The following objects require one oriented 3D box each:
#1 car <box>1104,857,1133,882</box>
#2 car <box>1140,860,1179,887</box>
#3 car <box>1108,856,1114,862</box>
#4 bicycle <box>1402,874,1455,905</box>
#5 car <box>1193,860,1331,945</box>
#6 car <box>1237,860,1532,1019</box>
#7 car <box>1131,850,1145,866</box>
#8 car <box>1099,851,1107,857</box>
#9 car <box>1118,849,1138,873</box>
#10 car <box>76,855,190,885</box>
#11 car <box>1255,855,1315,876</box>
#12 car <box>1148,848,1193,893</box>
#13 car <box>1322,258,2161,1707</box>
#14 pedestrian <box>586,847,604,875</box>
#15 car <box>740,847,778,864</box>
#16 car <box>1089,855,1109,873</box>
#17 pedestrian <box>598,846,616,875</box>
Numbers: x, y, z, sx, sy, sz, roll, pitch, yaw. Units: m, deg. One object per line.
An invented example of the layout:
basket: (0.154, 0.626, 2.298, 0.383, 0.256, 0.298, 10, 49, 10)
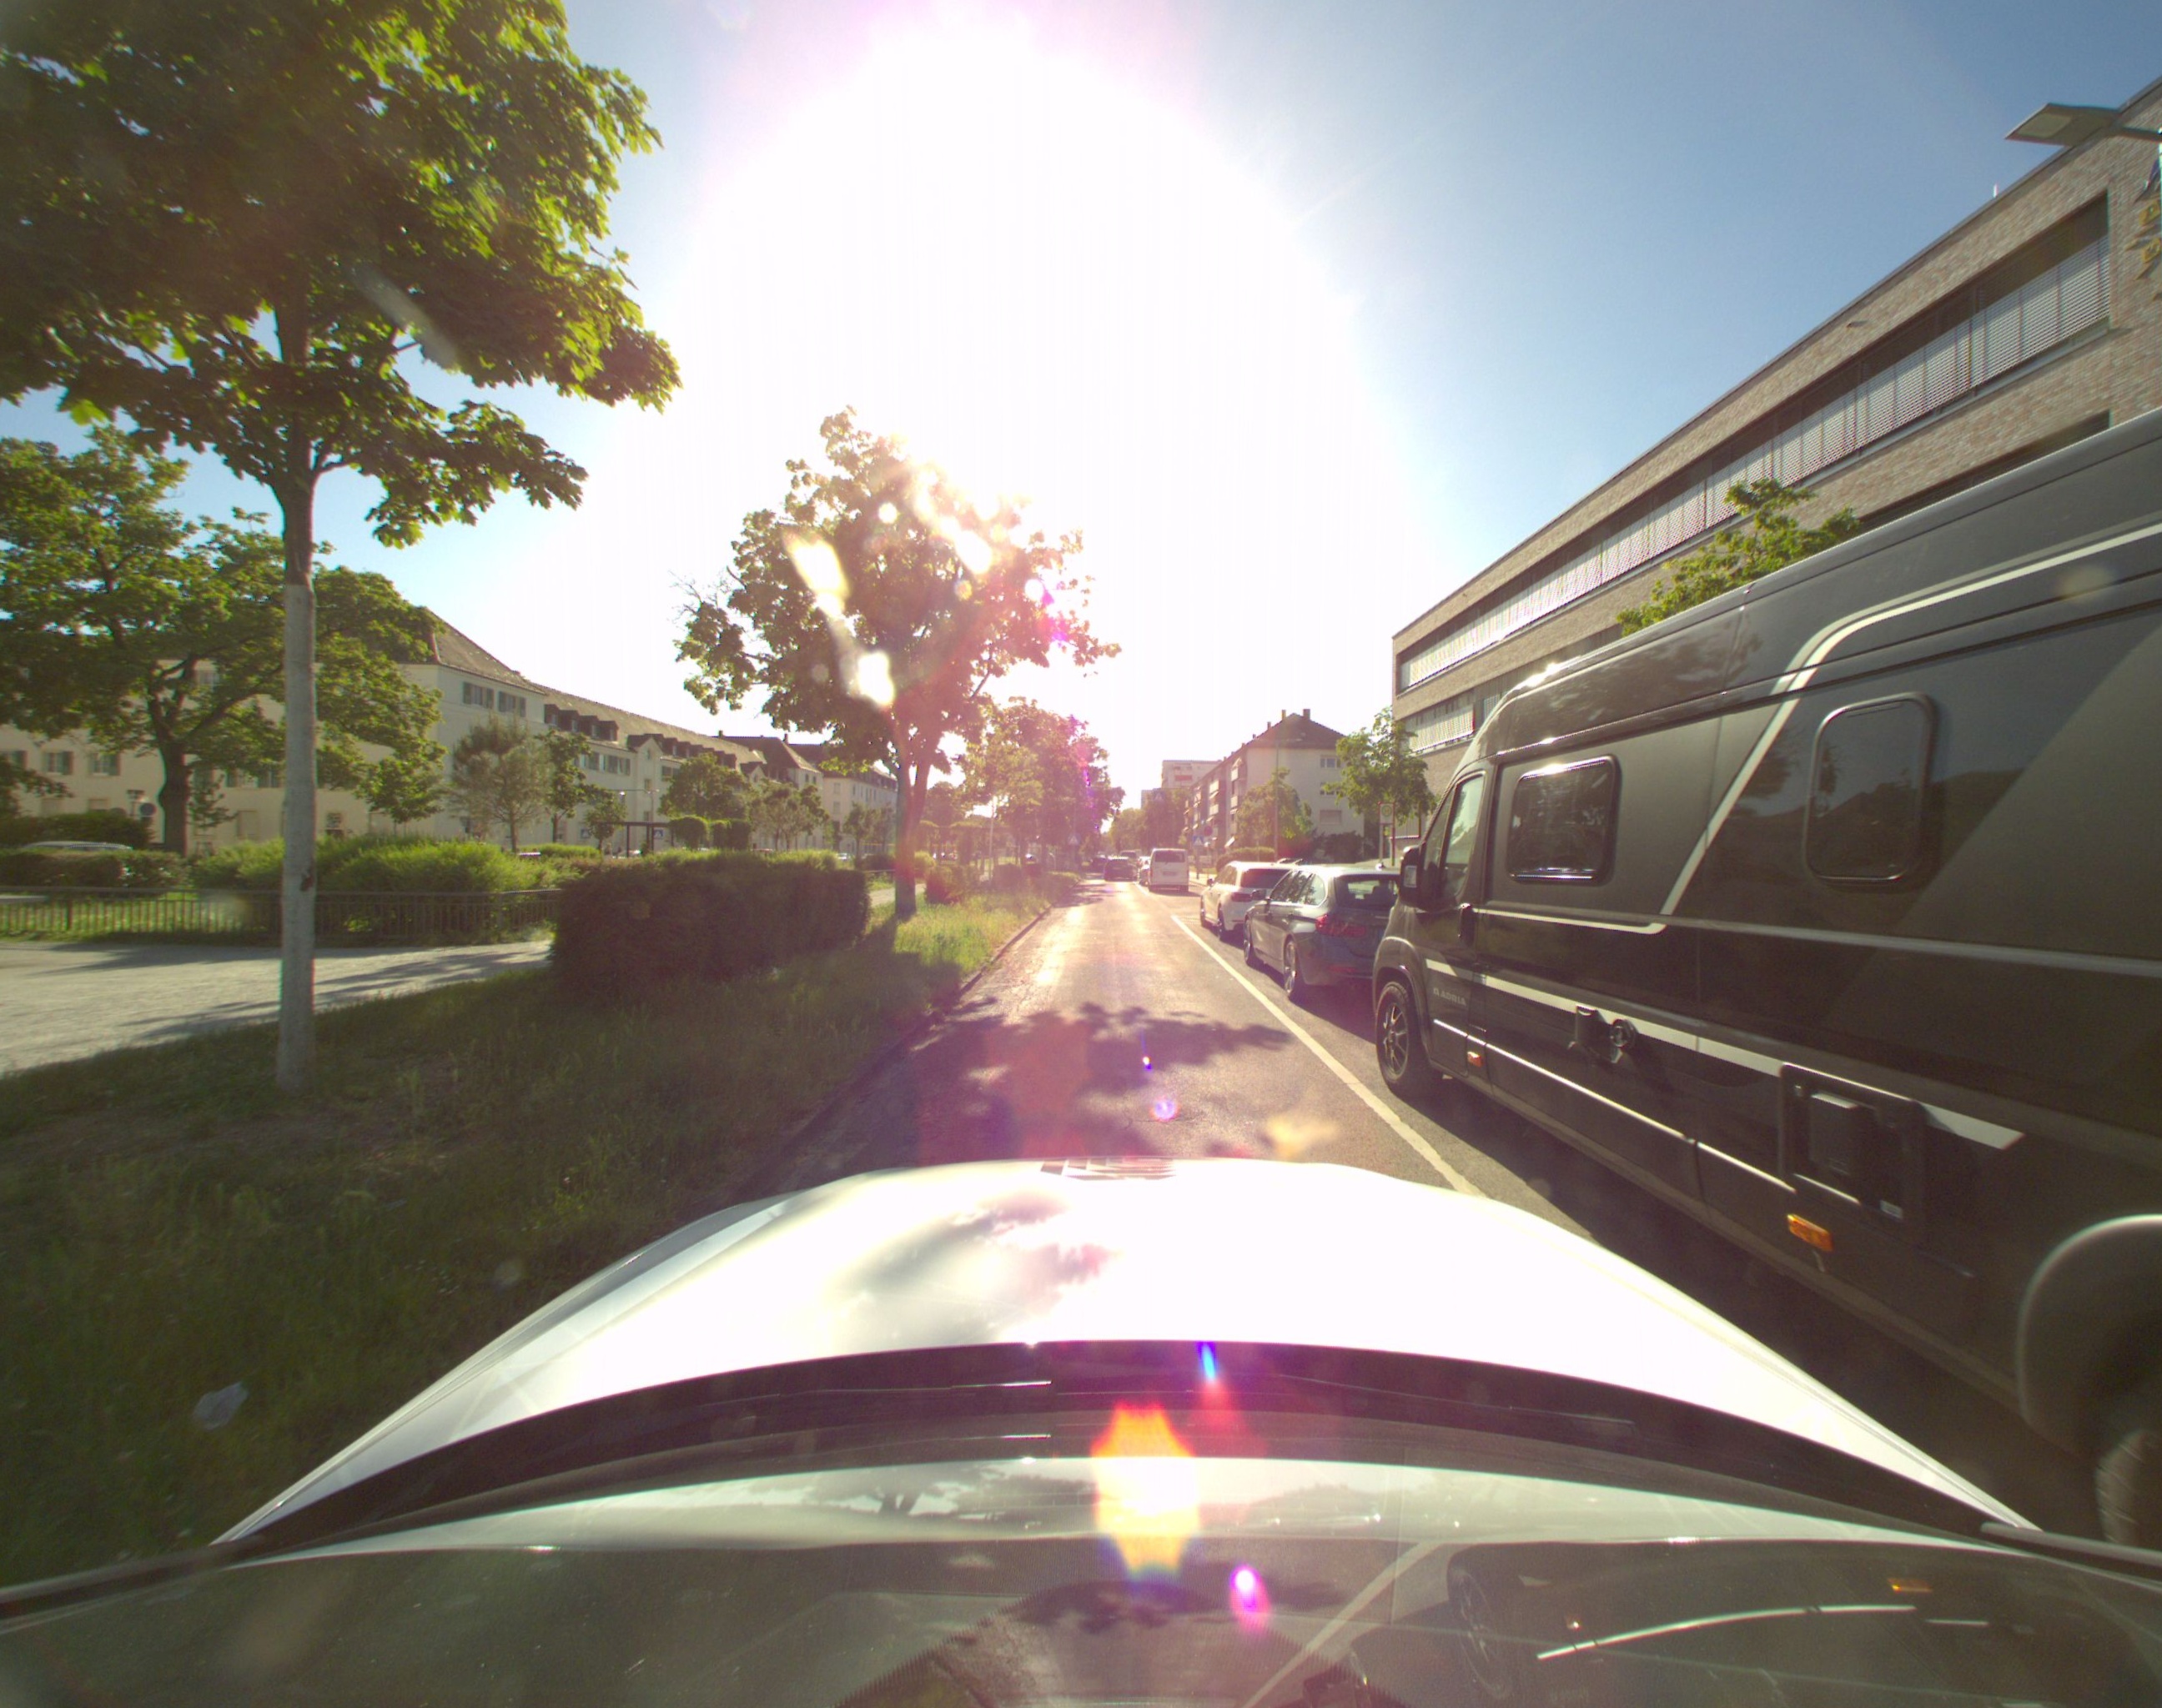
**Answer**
car: (2.366, 0.945, 51.678, 1.787, 1.510, 4.002, 1, 0, 2)
car: (4.088, 1.003, 42.956, 1.758, 1.319, 4.170, 2, -1, 2)
car: (9.047, 1.483, 243.883, 1.787, 1.510, 4.002, 0, 0, 2)
bicycle: (13.345, 1.372, 31.278, 1.789, 1.107, 0.500, -2, 0, -1)
car: (3.378, 0.836, 16.066, 1.788, 1.420, 4.658, 0, 0, 1)
car: (3.211, 0.799, 9.760, 1.986, 1.420, 4.638, 0, 0, 2)
car: (9.447, 0.635, 134.750, 1.986, 2.430, 4.502, 3, 0, 2)
car: (5.365, 0.083, 199.044, 1.787, 1.510, 4.002, 0, 0, 2)
car: (4.353, 0.612, 75.803, 1.787, 2.122, 4.002, 1, 0, 2)
car: (-50.968, 0.844, 43.835, 3.974, 1.566, 1.800, 1, 0, 0)
car: (16.730, 0.936, 66.860, 4.467, 1.622, 1.799, 1, -2, -1)
car: (3.945, 0.699, 36.473, 1.786, 1.855, 4.417, 1, 0, 4)
car: (2.923, 0.245, 3.134, 2.108, 2.516, 6.531, 0, 0, 0)
pedestrian: (-29.027, 0.415, 48.624, 0.645, 1.698, 0.650, 0, -1, 2)
car: (-32.692, 0.177, 82.843, 1.787, 1.710, 4.705, 1, 0, 2)
car: (1.667, 0.893, 74.126, 1.787, 1.624, 4.002, 1, 0, 2)
pedestrian: (-28.278, 0.405, 48.568, 0.645, 1.698, 0.650, 0, -1, 2)
